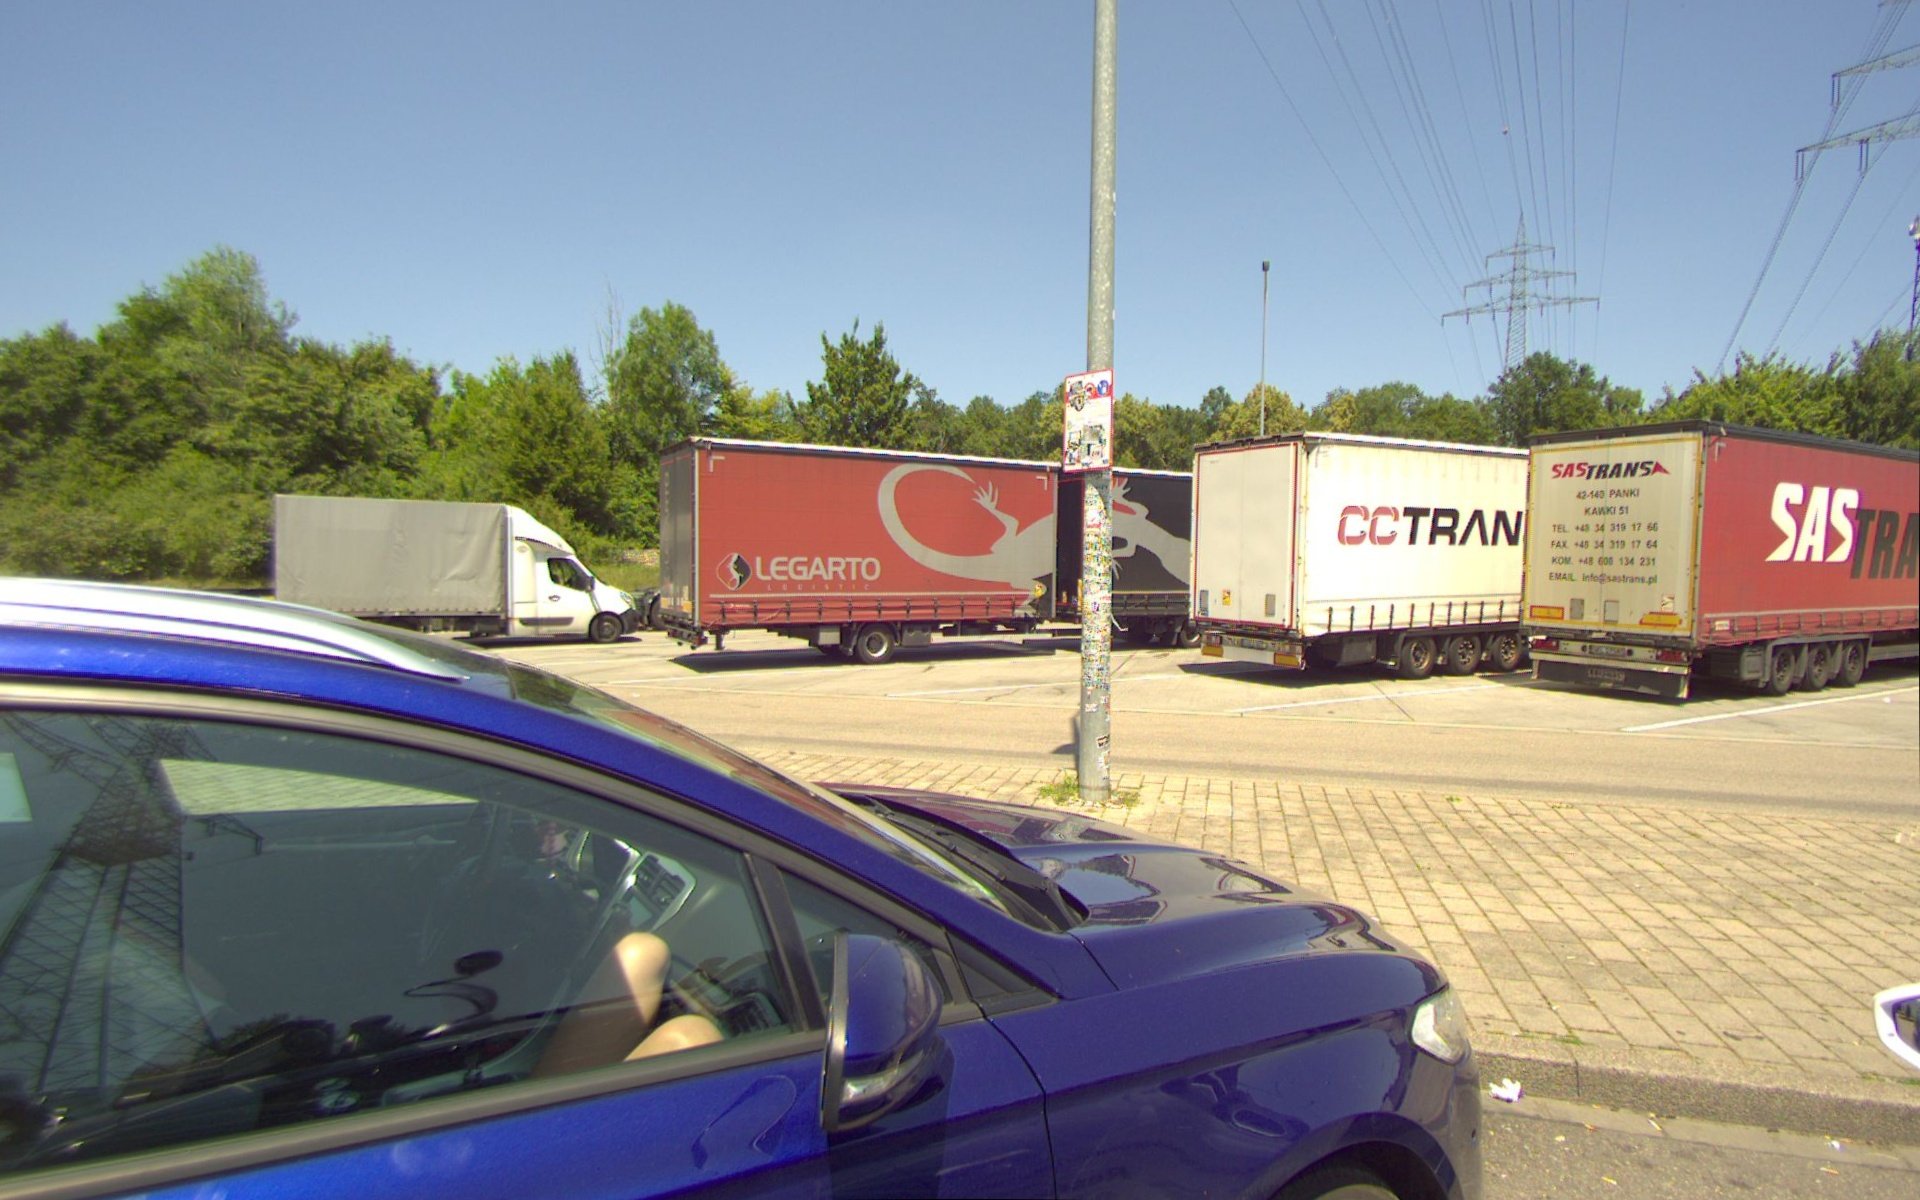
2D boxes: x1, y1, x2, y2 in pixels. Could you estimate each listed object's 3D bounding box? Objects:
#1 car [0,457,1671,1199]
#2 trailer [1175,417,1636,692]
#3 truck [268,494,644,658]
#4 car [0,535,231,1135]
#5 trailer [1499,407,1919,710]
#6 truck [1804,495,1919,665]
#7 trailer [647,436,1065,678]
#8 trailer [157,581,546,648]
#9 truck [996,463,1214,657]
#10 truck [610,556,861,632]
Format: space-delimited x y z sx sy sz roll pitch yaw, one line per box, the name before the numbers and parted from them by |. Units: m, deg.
car | -0.976 0.652 1.474 4.592 1.502 1.727 0 0 -33
trailer | 8.869 -0.825 19.332 10.049 4.267 2.714 -1 3 -30
truck | -11.200 -0.570 22.906 7.254 3.254 2.515 -1 3 -30
car | -4.549 0.581 2.258 4.592 1.554 1.726 0 1 -33
trailer | 15.408 -0.710 18.568 13.559 4.189 2.892 -1 3 -30
truck | 21.730 -0.440 22.313 5.418 3.475 2.838 -1 3 -30
trailer | -1.924 -0.831 20.271 7.996 4.101 2.696 -1 3 -30
trailer | -14.828 0.263 25.189 7.996 1.394 2.211 -1 3 -30
truck | 3.358 -0.907 23.365 4.273 4.072 2.689 -1 3 -30
truck | -6.480 -0.162 29.530 6.961 2.040 1.984 0 0 -30
